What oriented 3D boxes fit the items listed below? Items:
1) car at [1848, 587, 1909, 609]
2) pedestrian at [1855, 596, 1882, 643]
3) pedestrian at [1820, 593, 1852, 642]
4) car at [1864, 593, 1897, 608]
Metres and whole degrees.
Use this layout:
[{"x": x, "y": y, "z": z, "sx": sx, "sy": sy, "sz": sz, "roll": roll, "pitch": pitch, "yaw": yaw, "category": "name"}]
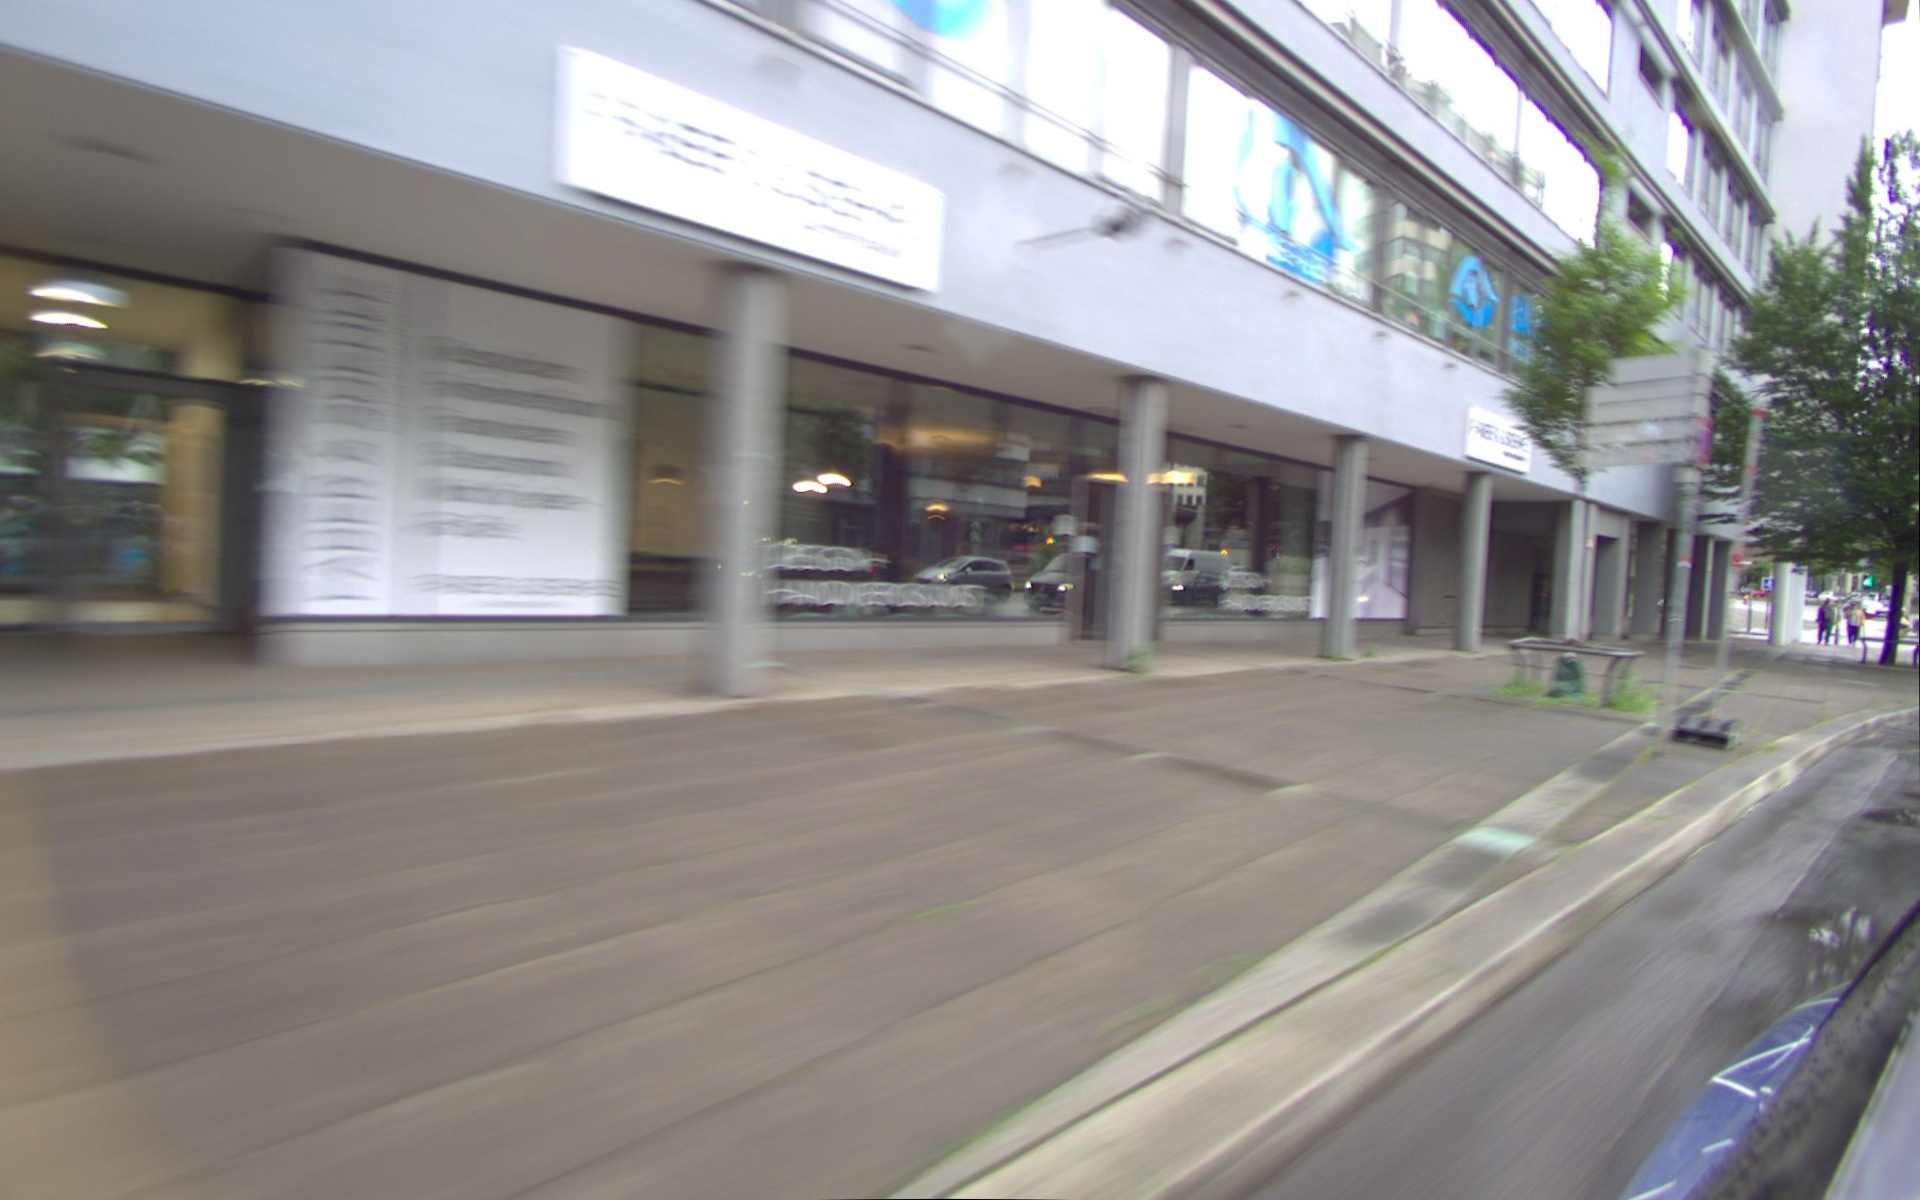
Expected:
[{"x": 69.004, "y": -0.183, "z": 76.101, "sx": 1.869, "sy": 1.504, "sz": 3.975, "roll": 2, "pitch": 2, "yaw": 19, "category": "car"}, {"x": 35.404, "y": 0.754, "z": 39.430, "sx": 0.865, "sy": 1.804, "sz": 0.640, "roll": 3, "pitch": 0, "yaw": -42, "category": "pedestrian"}, {"x": 33.359, "y": 0.654, "z": 38.534, "sx": 0.792, "sy": 1.804, "sz": 0.880, "roll": 3, "pitch": 0, "yaw": 45, "category": "pedestrian"}, {"x": 102.514, "y": 0.057, "z": 112.777, "sx": 1.728, "sy": 1.482, "sz": 3.961, "roll": 3, "pitch": 2, "yaw": 28, "category": "car"}]
